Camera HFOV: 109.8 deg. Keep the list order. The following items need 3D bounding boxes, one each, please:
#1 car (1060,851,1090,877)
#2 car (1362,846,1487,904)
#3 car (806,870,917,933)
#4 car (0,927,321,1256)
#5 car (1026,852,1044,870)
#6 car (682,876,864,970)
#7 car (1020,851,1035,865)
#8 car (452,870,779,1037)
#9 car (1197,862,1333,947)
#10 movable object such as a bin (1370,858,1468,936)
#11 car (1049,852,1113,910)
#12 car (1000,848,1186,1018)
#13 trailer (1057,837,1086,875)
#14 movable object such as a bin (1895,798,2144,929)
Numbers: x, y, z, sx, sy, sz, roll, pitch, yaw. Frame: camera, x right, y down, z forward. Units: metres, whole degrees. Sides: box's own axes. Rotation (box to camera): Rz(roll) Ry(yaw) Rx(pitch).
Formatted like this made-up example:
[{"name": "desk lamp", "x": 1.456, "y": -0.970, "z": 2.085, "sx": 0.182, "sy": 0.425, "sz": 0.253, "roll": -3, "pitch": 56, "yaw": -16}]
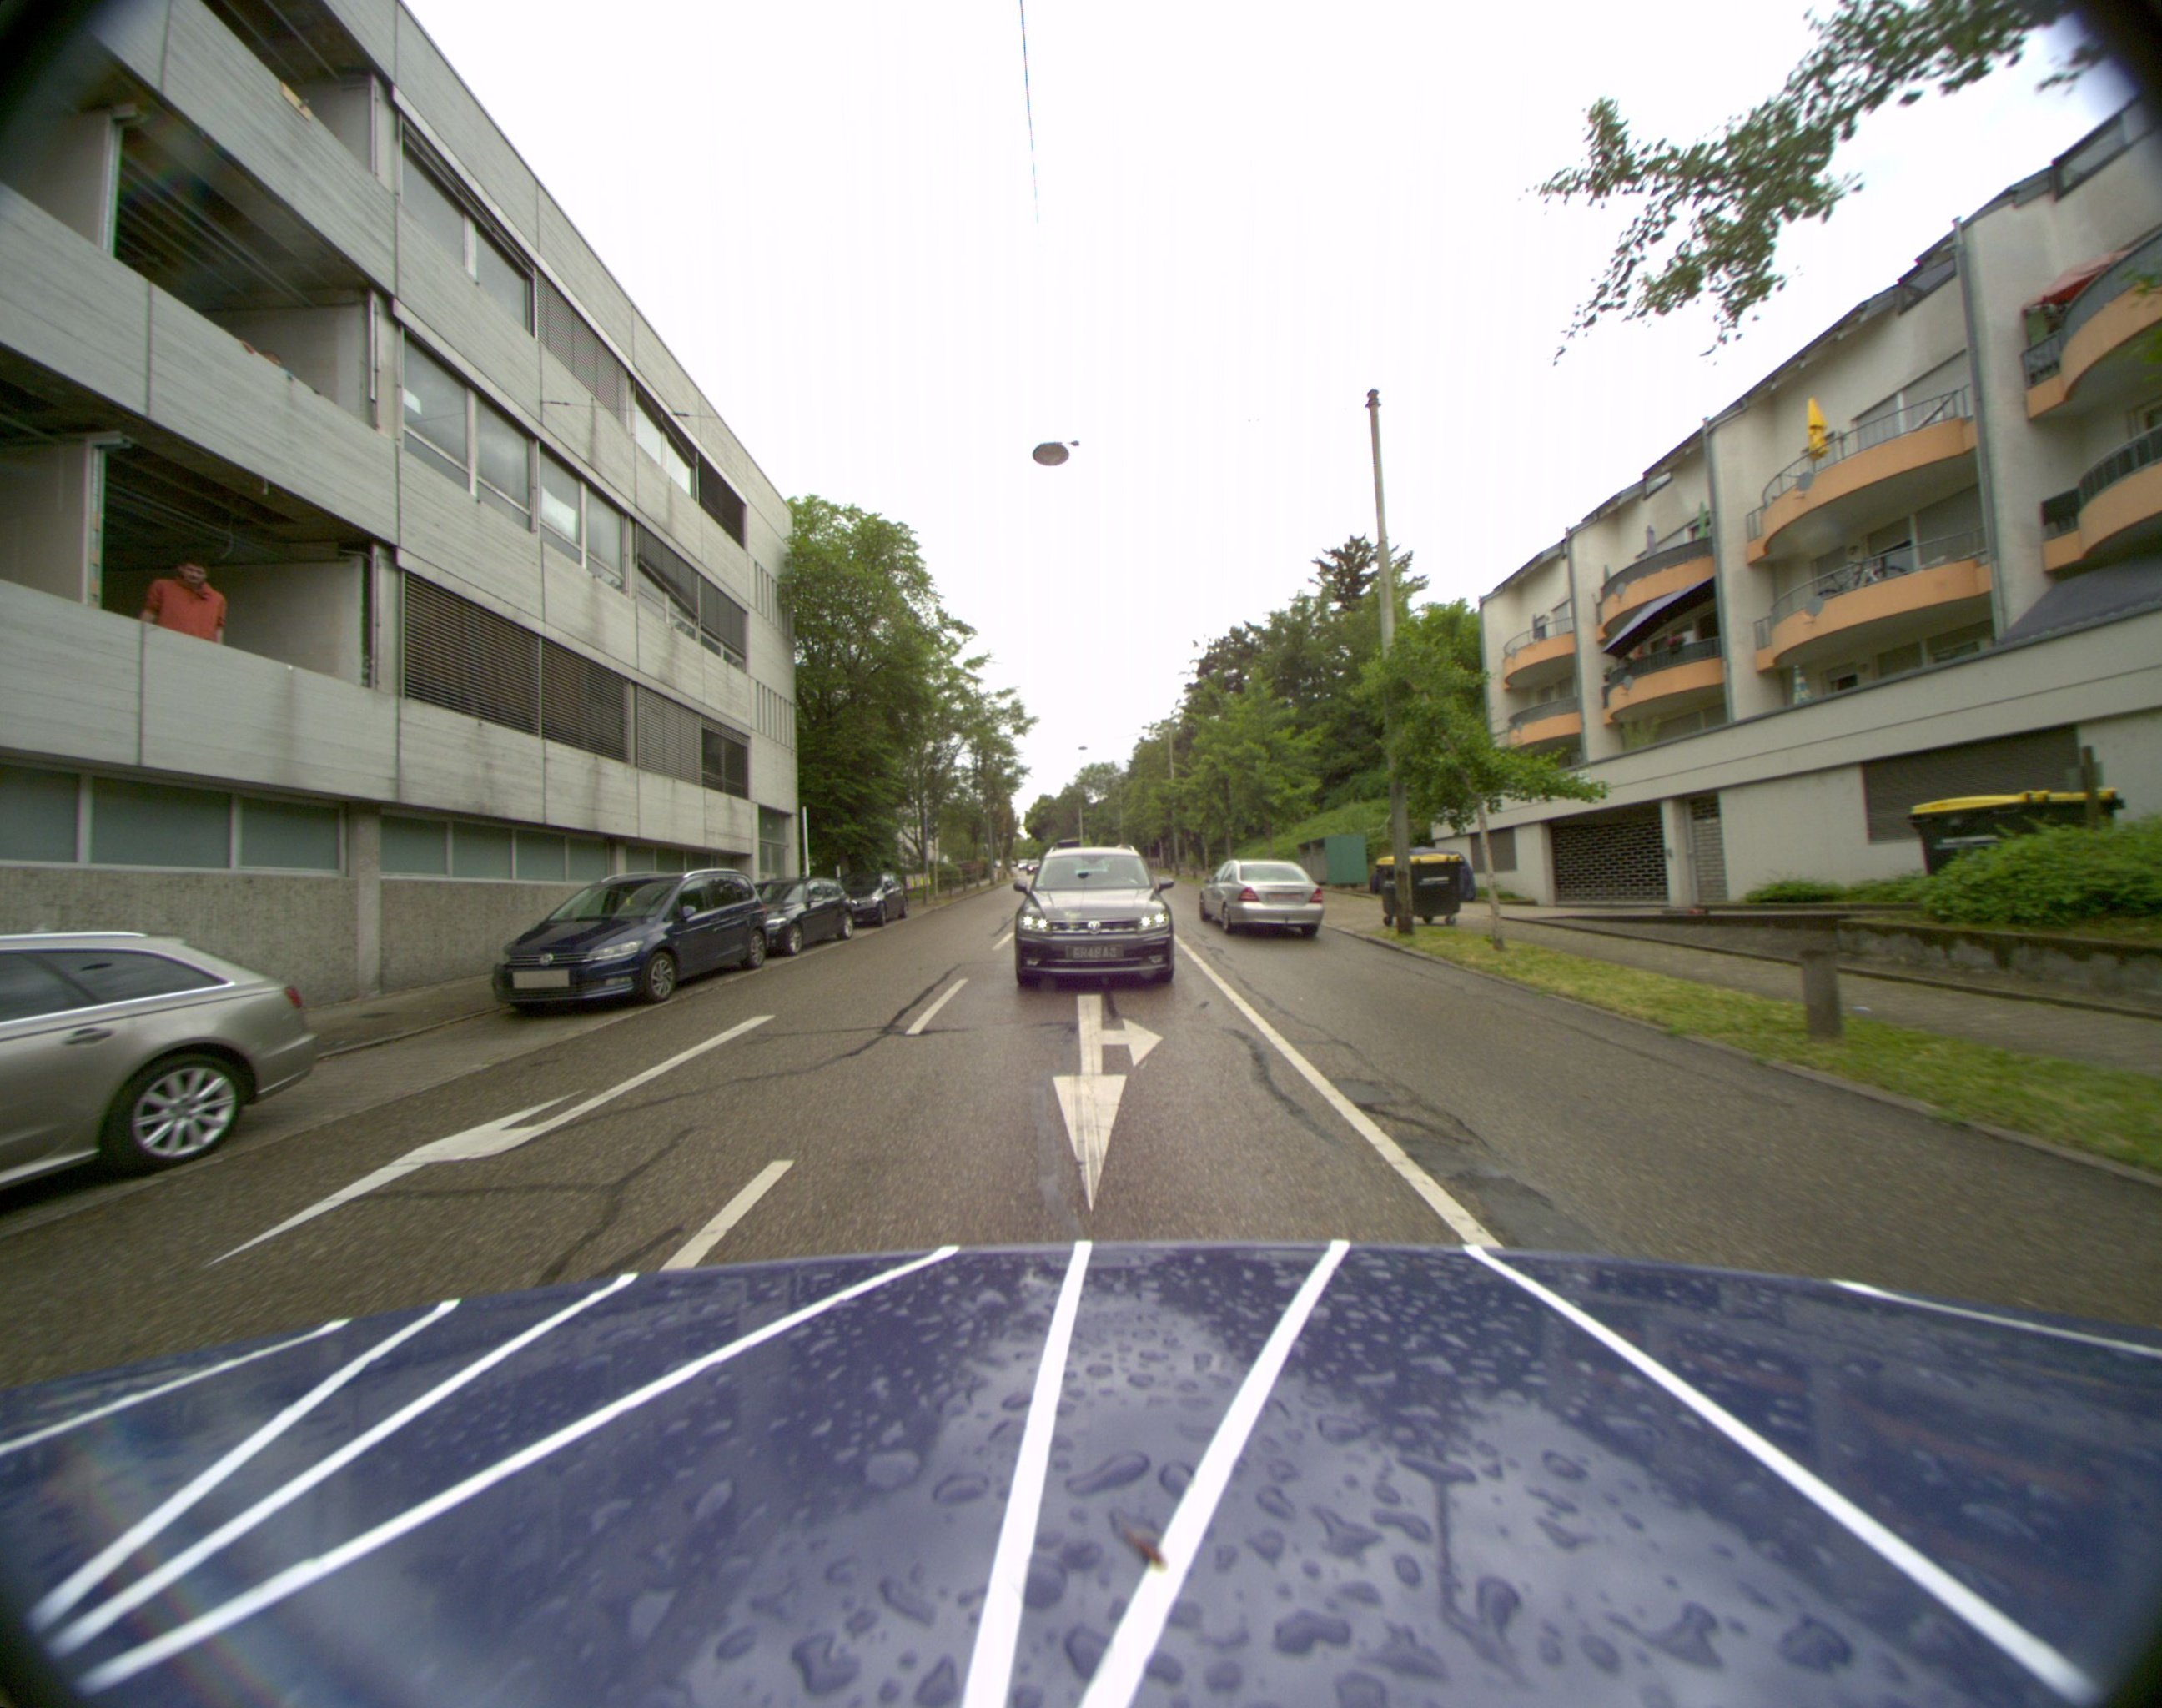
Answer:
[{"name": "car", "x": -0.433, "y": 0.662, "z": 52.194, "sx": 1.737, "sy": 1.610, "sz": 3.473, "roll": -2, "pitch": 1, "yaw": -4}, {"name": "car", "x": 10.001, "y": 0.560, "z": 22.449, "sx": 1.856, "sy": 1.483, "sz": 3.865, "roll": 2, "pitch": 0, "yaw": -1}, {"name": "car", "x": -5.937, "y": 1.228, "z": 21.075, "sx": 1.843, "sy": 1.436, "sz": 4.155, "roll": -1, "pitch": 0, "yaw": 0}, {"name": "car", "x": -6.190, "y": 1.275, "z": 2.890, "sx": 1.819, "sy": 1.451, "sz": 4.741, "roll": -2, "pitch": 0, "yaw": -1}, {"name": "car", "x": -5.472, "y": 0.774, "z": 90.986, "sx": 1.999, "sy": 2.002, "sz": 3.998, "roll": -2, "pitch": 1, "yaw": -3}, {"name": "car", "x": -5.996, "y": 1.271, "z": 15.386, "sx": 1.710, "sy": 1.436, "sz": 4.098, "roll": -2, "pitch": 0, "yaw": 4}, {"name": "car", "x": -8.184, "y": 0.621, "z": 115.716, "sx": 1.999, "sy": 2.002, "sz": 3.999, "roll": -2, "pitch": 1, "yaw": -1}, {"name": "car", "x": -5.974, "y": 1.139, "z": 10.525, "sx": 1.749, "sy": 1.665, "sz": 4.344, "roll": -2, "pitch": 0, "yaw": 1}, {"name": "car", "x": 3.493, "y": 0.893, "z": 15.243, "sx": 1.723, "sy": 1.376, "sz": 4.285, "roll": 2, "pitch": 0, "yaw": 1}, {"name": "movable object such as a bin", "x": 6.266, "y": 0.772, "z": 14.150, "sx": 1.226, "sy": 1.342, "sz": 1.122, "roll": -3, "pitch": 1, "yaw": -7}, {"name": "car", "x": 0.043, "y": 0.785, "z": 24.331, "sx": 1.786, "sy": 1.632, "sz": 4.200, "roll": -2, "pitch": 0, "yaw": 1}, {"name": "car", "x": 0.160, "y": 0.782, "z": 9.679, "sx": 1.786, "sy": 1.632, "sz": 4.200, "roll": -2, "pitch": 0, "yaw": 1}, {"name": "trailer", "x": -0.704, "y": 0.131, "z": 55.438, "sx": 1.771, "sy": 2.610, "sz": 3.031, "roll": -2, "pitch": 1, "yaw": -5}, {"name": "movable object such as a bin", "x": 10.326, "y": 0.128, "z": 8.433, "sx": 1.266, "sy": 1.307, "sz": 1.162, "roll": -3, "pitch": -3, "yaw": -7}]
